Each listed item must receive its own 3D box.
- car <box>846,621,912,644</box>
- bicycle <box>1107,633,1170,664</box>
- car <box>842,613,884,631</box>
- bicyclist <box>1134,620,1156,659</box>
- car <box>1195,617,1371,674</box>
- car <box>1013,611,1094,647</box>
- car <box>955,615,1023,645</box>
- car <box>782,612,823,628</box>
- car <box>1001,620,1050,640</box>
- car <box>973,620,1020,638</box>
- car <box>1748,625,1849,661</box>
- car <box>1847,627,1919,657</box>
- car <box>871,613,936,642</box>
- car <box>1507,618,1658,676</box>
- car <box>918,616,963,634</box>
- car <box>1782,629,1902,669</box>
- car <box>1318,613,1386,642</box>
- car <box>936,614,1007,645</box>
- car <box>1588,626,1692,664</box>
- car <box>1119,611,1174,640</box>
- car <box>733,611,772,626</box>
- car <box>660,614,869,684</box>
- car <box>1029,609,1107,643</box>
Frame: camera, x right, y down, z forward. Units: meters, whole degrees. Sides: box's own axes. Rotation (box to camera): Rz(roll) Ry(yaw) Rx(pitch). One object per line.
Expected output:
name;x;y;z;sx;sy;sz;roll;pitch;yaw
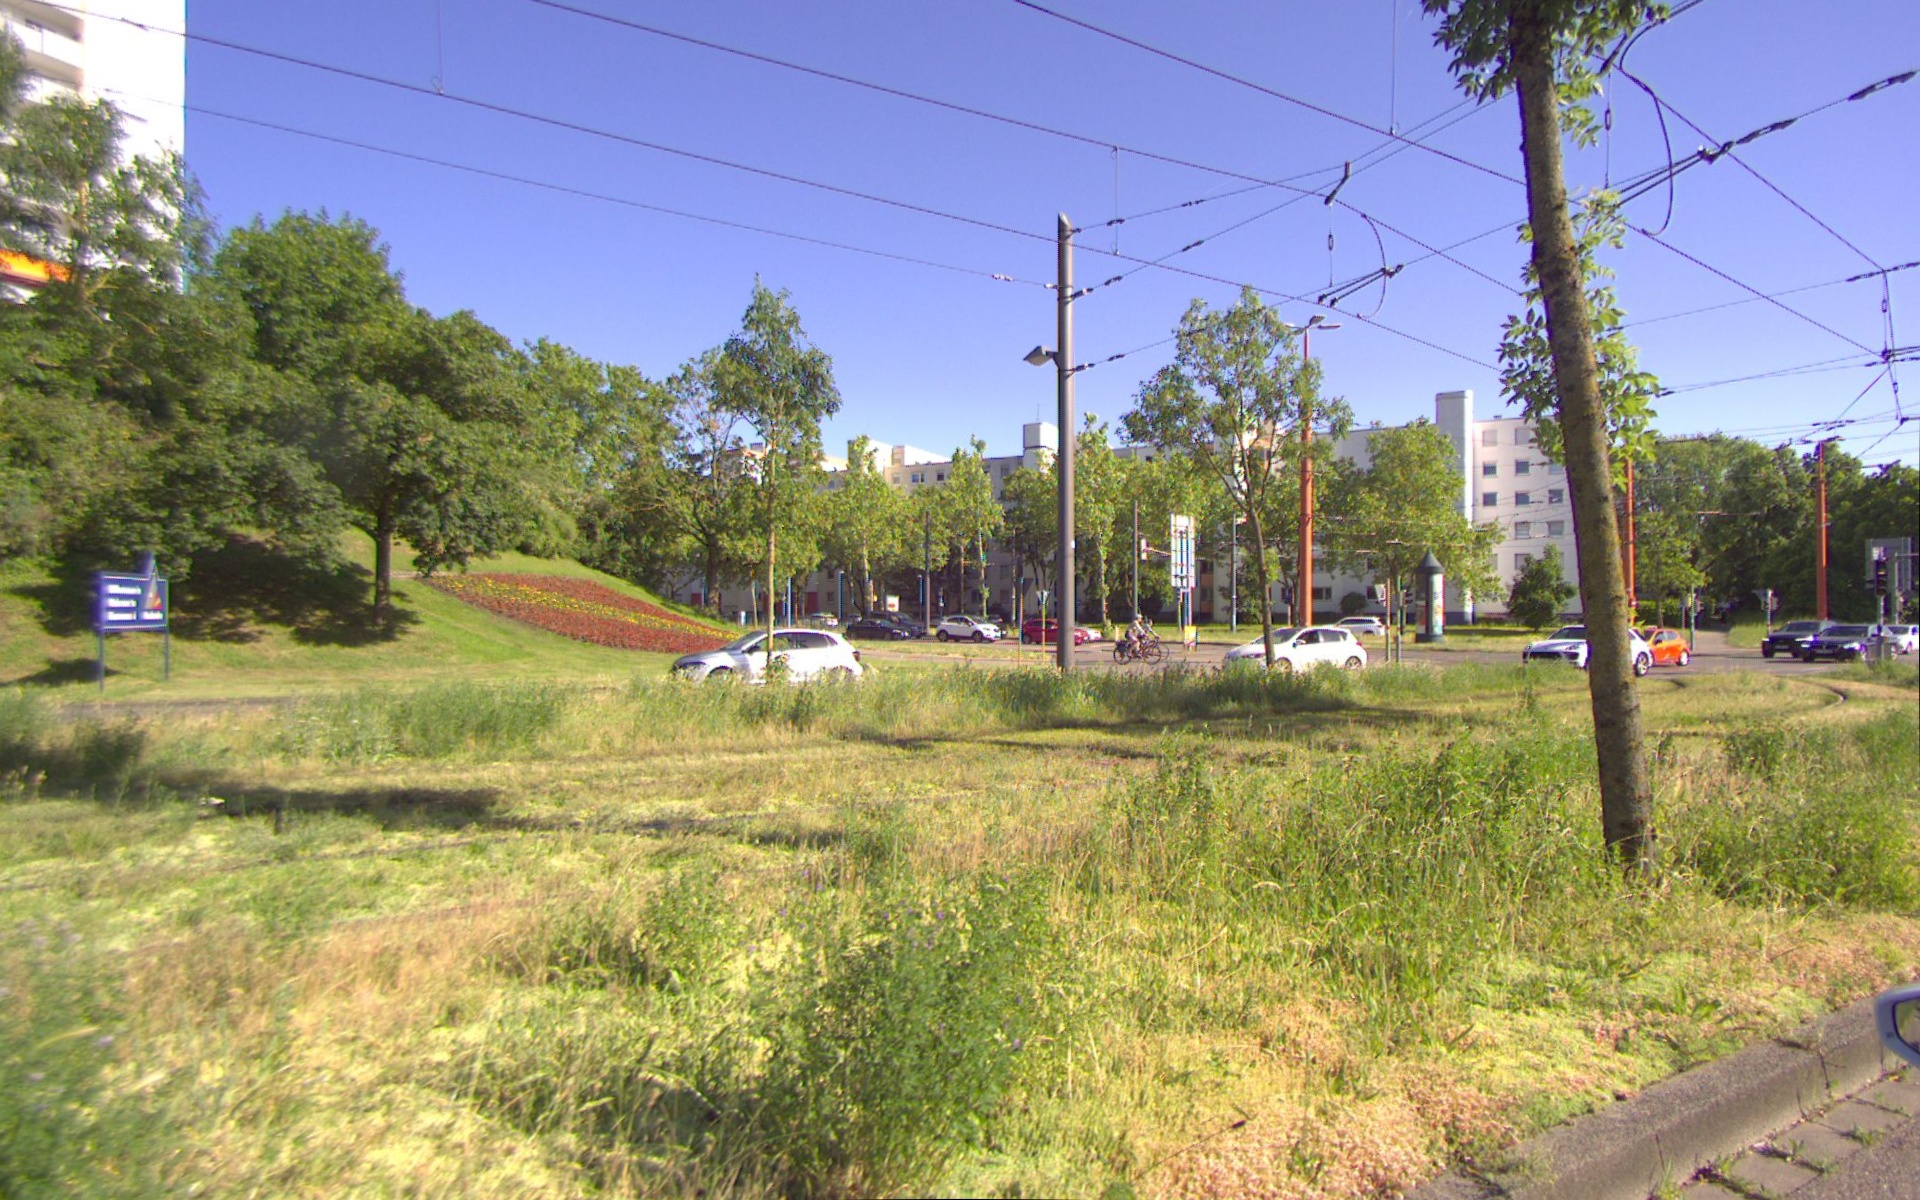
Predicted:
car;-5.225;2.084;64.703;3.928;1.340;1.733;1;0;30
bicycle;6.787;1.825;38.186;2.313;1.095;0.474;1;0;15
car;-9.767;2.203;100.835;3.935;1.617;1.889;1;0;-17
bicyclist;7.011;1.492;38.110;0.742;1.449;0.752;1;0;14
car;8.818;1.228;27.422;4.480;1.416;1.894;1;0;-24
car;5.388;1.632;57.827;4.198;1.926;1.996;1;0;30
car;1.854;1.909;64.216;3.928;1.773;1.909;1;0;30
car;-16.416;2.087;104.551;3.935;1.617;1.889;1;0;-17
car;5.850;2.682;89.639;3.935;1.617;1.889;1;0;-17
car;3.320;2.640;91.563;3.935;1.617;1.889;1;0;-17
car;37.688;1.914;45.134;4.575;1.500;1.985;1;0;-29
car;47.390;2.130;51.155;4.639;1.451;1.984;1;-2;-31
car;-3.802;1.810;67.293;3.928;1.773;1.909;1;0;30
car;19.326;1.434;31.175;4.597;1.643;1.888;1;0;-27
car;-1.860;2.336;94.999;3.935;1.617;1.889;1;0;-17
car;34.900;1.907;39.723;4.929;1.428;1.985;1;0;-29
car;27.603;1.913;70.694;4.324;2.040;1.998;0;-1;25
car;0.712;1.764;61.400;3.928;1.773;1.909;1;0;30
car;25.867;1.686;38.178;4.128;1.315;1.649;1;0;-31
car;15.333;2.087;82.637;3.935;2.341;1.889;1;0;-17
car;-22.359;1.984;108.186;3.935;1.617;1.889;1;0;-17
car;-4.069;0.978;20.995;3.951;1.310;1.790;1;0;-29
car;6.532;1.538;60.822;4.198;1.926;1.996;1;0;30
